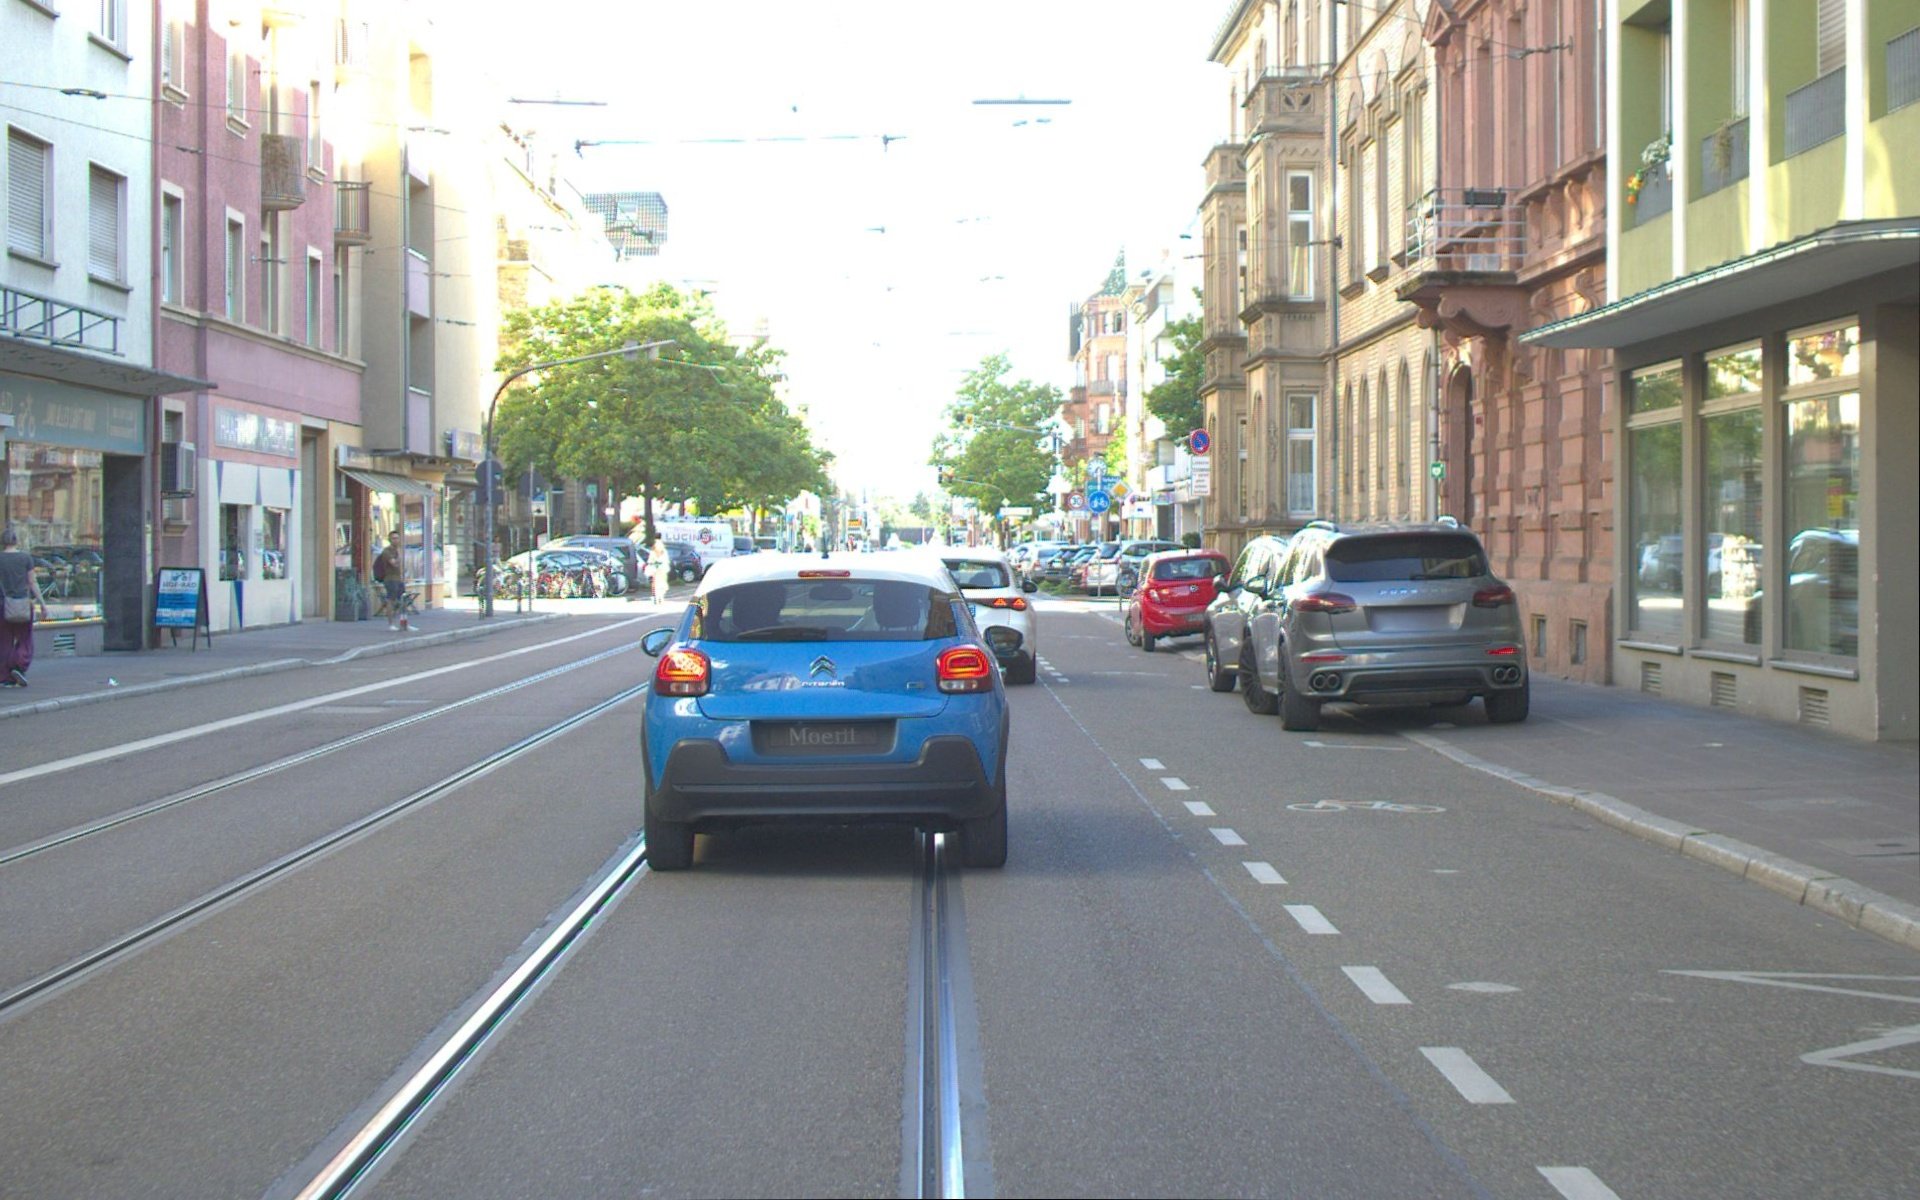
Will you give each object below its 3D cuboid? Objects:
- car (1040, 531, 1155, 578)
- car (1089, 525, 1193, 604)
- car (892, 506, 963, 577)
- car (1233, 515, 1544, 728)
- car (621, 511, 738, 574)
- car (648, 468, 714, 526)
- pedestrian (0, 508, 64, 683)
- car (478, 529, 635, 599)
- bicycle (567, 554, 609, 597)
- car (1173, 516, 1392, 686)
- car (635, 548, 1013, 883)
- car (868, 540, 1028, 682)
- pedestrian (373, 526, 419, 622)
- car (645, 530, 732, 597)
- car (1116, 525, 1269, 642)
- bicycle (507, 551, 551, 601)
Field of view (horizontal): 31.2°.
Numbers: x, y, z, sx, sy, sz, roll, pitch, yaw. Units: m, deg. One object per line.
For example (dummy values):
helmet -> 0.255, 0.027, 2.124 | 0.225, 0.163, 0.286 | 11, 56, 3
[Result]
car -> 4.741, -1.588, 119.011 | 3.835, 1.612, 1.792 | 0, 1, -3
car -> 4.076, -0.821, 77.975 | 2.005, 1.666, 4.391 | -2, 1, -1
car -> -0.967, -1.709, 99.991 | 1.993, 2.007, 4.000 | 0, 1, -2
car -> 3.567, 0.127, 29.466 | 2.005, 1.667, 4.806 | 0, 1, -1
car -> -11.618, -2.371, 142.359 | 4.307, 2.572, 2.210 | -1, 1, -26
car -> -12.634, -4.622, 155.273 | 2.201, 2.572, 4.324 | -1, 1, -15
pedestrian -> -9.529, -0.049, 34.997 | 0.710, 1.758, 0.655 | 0, 1, -9
car -> -11.874, -1.070, 101.301 | 4.308, 2.010, 2.209 | 0, 1, 1
bicycle -> -10.165, -0.681, 93.937 | 1.120, 1.142, 3.645 | 0, 1, -6
car -> 3.478, -0.027, 37.737 | 1.905, 1.751, 4.000 | 0, 1, -2
car -> -0.657, 0.486, 17.328 | 1.674, 1.472, 4.000 | 0, 1, -2
car -> -0.174, 0.083, 38.229 | 1.667, 1.473, 4.000 | 0, 1, -2
pedestrian -> -9.733, -0.452, 59.376 | 0.685, 1.633, 0.675 | 0, 1, -2
car -> -6.936, -0.951, 88.127 | 1.993, 1.645, 4.000 | 0, 1, -2
car -> 3.578, -0.292, 53.634 | 2.005, 1.666, 4.391 | -1, 2, -1
bicycle -> -11.739, -0.676, 93.690 | 1.120, 1.315, 3.645 | 0, 1, -6
